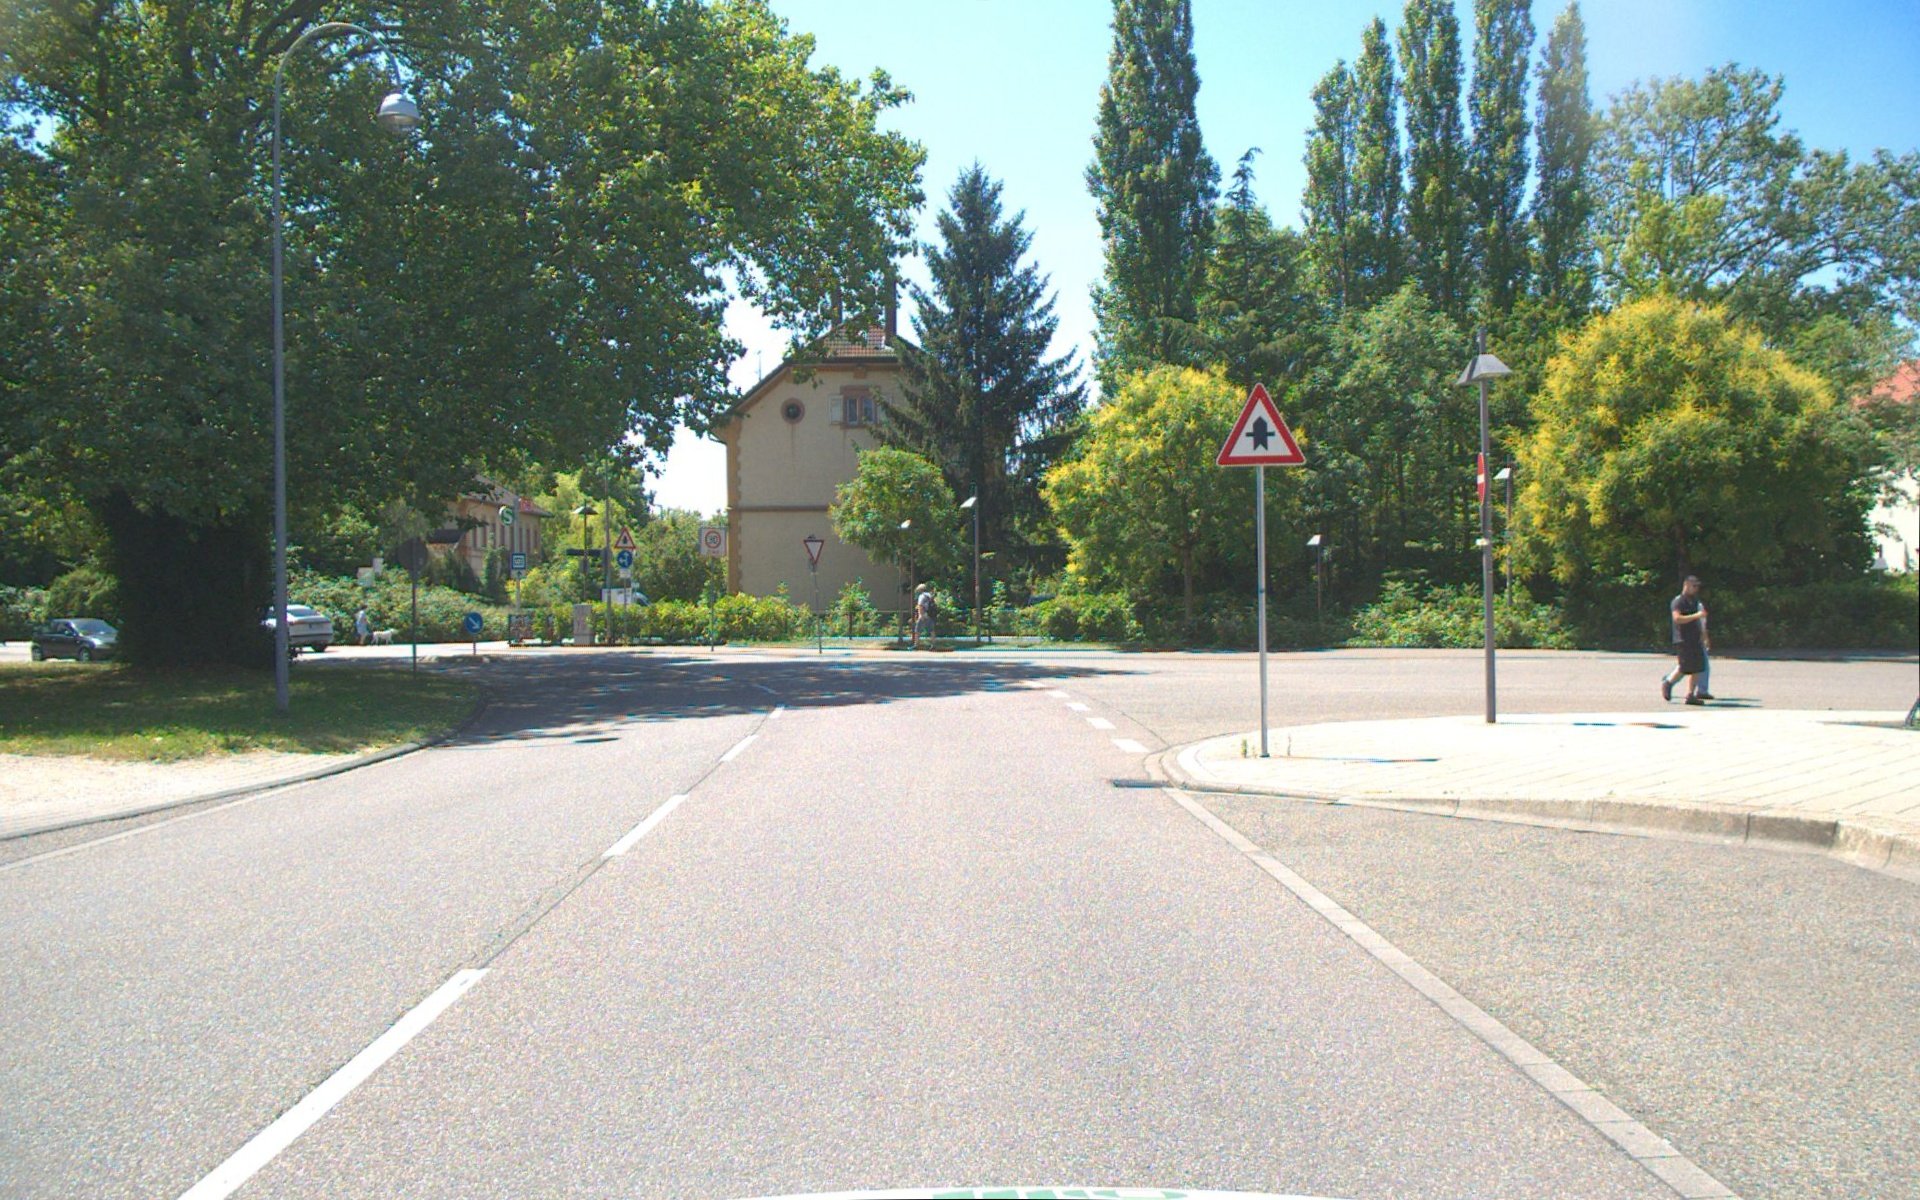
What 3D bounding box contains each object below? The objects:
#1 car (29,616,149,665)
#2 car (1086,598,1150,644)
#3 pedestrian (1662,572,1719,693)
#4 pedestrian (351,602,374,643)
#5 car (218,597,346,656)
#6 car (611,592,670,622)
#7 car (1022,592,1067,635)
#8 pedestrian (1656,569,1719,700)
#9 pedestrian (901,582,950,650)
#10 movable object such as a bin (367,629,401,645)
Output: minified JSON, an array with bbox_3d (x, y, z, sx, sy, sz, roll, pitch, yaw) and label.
[{"bbox_3d":[-28.183,1.325,53.479,3.914,1.442,1.642,-2,1,32],"label":"car"},{"bbox_3d":[5.446,0.709,57.599,1.728,1.526,4.499,-1,0,-1],"label":"car"},{"bbox_3d":[10.883,0.474,24.657,0.659,1.766,0.915,-1,0,17],"label":"pedestrian"},{"bbox_3d":[-24.403,0.918,67.558,0.685,1.656,0.615,1,1,32],"label":"pedestrian"},{"bbox_3d":[-24.110,0.973,58.799,4.377,1.643,1.936,-4,-10,33],"label":"car"},{"bbox_3d":[-26.224,0.552,135.863,4.352,2.362,2.203,-1,0,2],"label":"car"},{"bbox_3d":[3.196,0.495,62.085,1.615,1.563,3.971,-1,0,3],"label":"car"},{"bbox_3d":[10.357,0.482,23.569,0.678,1.816,0.915,-1,0,17],"label":"pedestrian"},{"bbox_3d":[-0.964,0.440,45.724,0.907,1.802,0.902,-5,2,-41],"label":"pedestrian"},{"bbox_3d":[-23.481,1.516,67.430,0.506,0.605,1.239,-1,0,34],"label":"movable object such as a bin"}]
